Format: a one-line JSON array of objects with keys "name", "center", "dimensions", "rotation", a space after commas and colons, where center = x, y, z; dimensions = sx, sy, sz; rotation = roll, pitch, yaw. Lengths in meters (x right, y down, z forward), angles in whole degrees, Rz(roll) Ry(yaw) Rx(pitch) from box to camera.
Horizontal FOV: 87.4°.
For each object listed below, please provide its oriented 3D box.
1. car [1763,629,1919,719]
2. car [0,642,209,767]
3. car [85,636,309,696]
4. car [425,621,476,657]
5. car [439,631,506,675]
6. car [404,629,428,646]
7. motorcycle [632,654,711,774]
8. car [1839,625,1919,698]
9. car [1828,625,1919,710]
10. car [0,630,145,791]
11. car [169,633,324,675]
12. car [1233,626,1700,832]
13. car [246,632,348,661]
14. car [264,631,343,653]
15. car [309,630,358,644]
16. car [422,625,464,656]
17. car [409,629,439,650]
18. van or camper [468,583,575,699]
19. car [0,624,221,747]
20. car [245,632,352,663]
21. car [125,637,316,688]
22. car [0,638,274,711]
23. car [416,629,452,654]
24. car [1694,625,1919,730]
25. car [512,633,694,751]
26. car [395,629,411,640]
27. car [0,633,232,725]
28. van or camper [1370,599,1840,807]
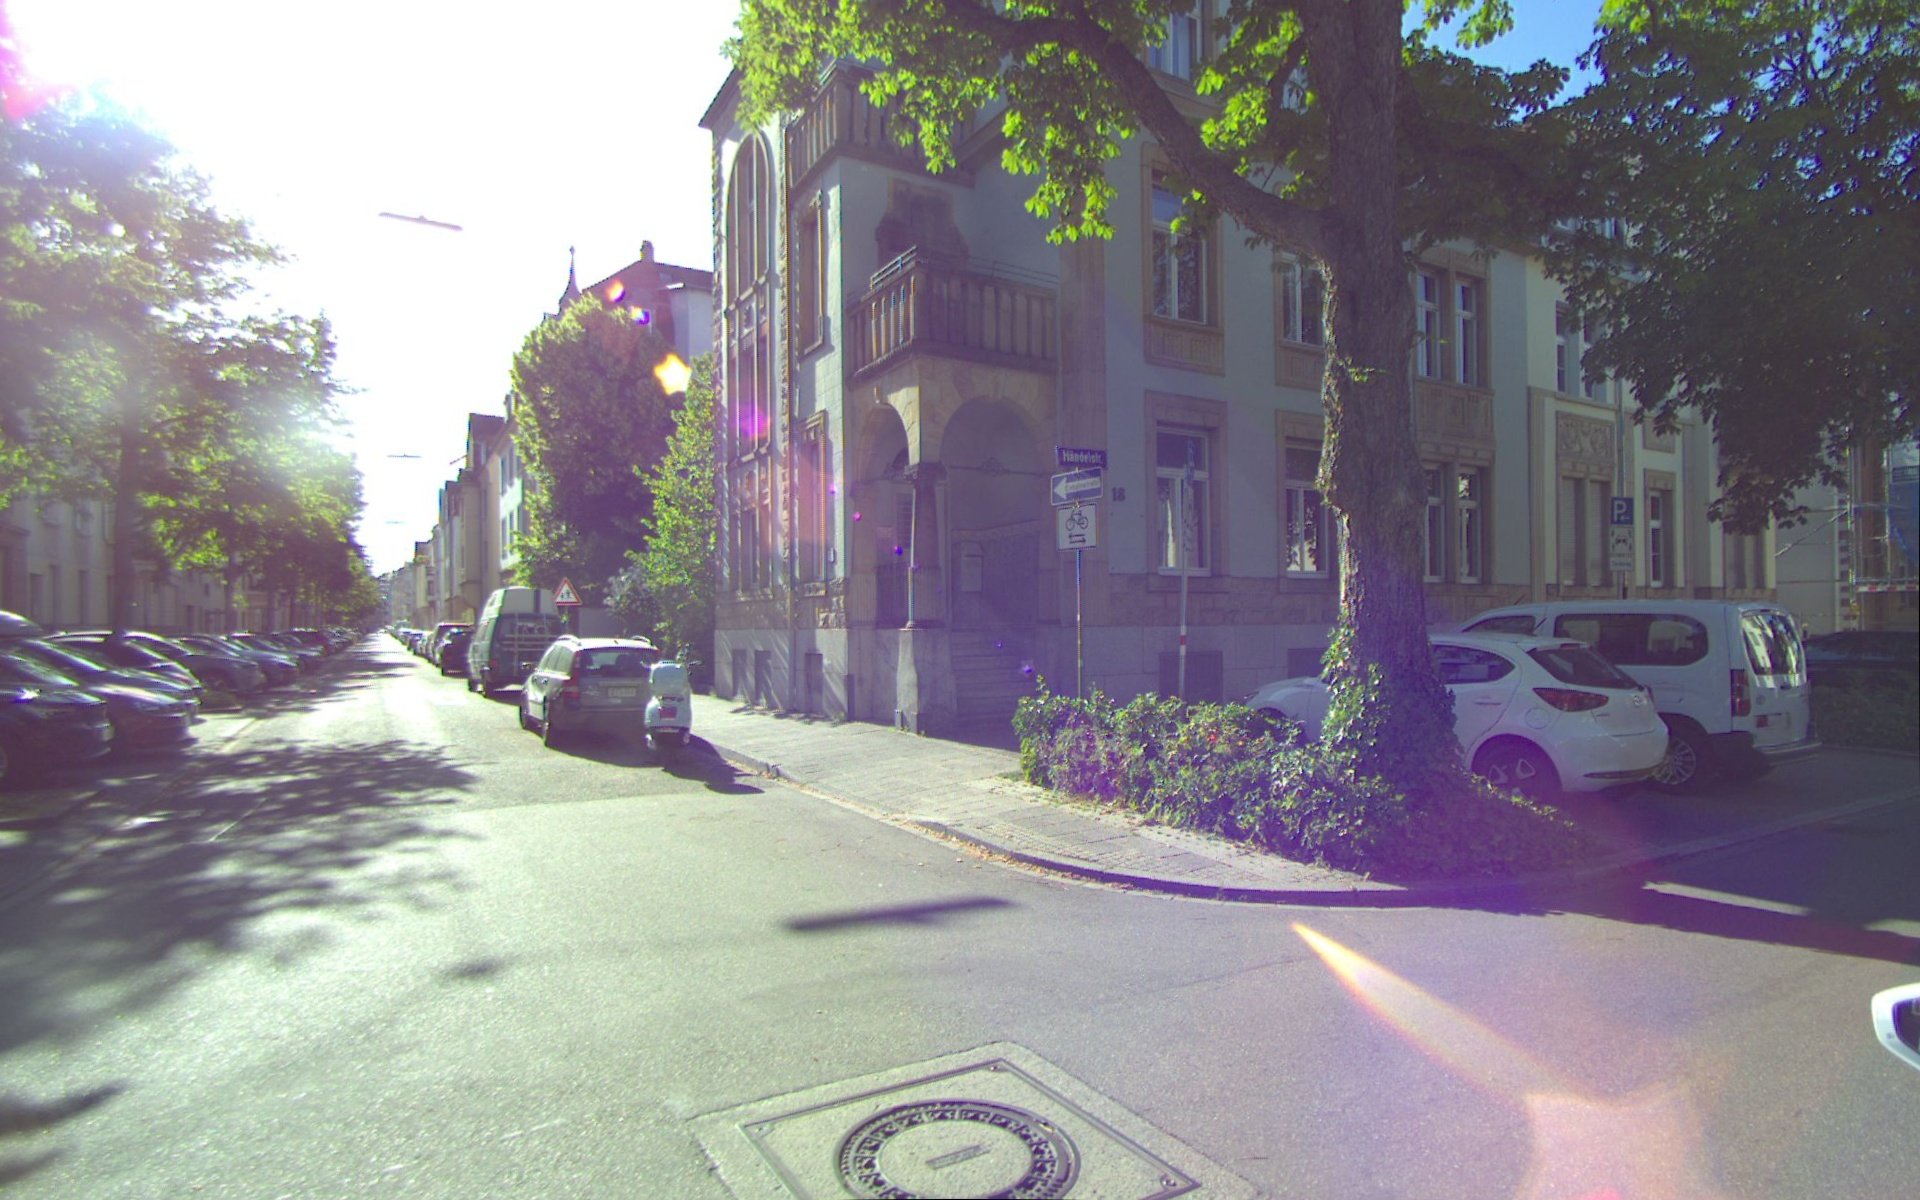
[{"name": "car", "center": [16.120, 1.218, 16.907], "dimensions": [1.627, 1.449, 3.730], "rotation": [0, -3, -30]}, {"name": "car", "center": [-12.065, 1.251, 12.392], "dimensions": [4.231, 1.460, 1.856], "rotation": [1, -2, -30]}, {"name": "car", "center": [-19.583, 1.659, 26.058], "dimensions": [4.366, 1.428, 1.856], "rotation": [1, -2, -30]}, {"name": "car", "center": [-23.584, 1.797, 46.452], "dimensions": [1.888, 1.547, 3.875], "rotation": [2, -3, -30]}, {"name": "car", "center": [-17.652, 1.874, 36.297], "dimensions": [1.888, 1.483, 3.875], "rotation": [2, -3, -30]}, {"name": "car", "center": [-51.277, 3.476, 94.596], "dimensions": [1.888, 1.548, 3.875], "rotation": [0, -1, -30]}, {"name": "motorcycle", "center": [-3.410, 1.308, 11.998], "dimensions": [0.577, 1.256, 1.846], "rotation": [0, -1, -6]}, {"name": "car", "center": [20.052, 1.209, 19.956], "dimensions": [1.675, 1.467, 3.534], "rotation": [0, -3, -29]}, {"name": "car", "center": [18.169, 1.188, 17.907], "dimensions": [1.694, 1.484, 3.710], "rotation": [-1, -2, -29]}, {"name": "car", "center": [-11.110, 1.083, 9.993], "dimensions": [4.366, 1.575, 1.856], "rotation": [1, -2, -30]}, {"name": "car", "center": [-25.628, 1.922, 36.278], "dimensions": [4.366, 1.428, 1.856], "rotation": [1, -2, -30]}, {"name": "car", "center": [4.625, 1.032, 9.688], "dimensions": [1.702, 1.536, 3.705], "rotation": [0, -1, -31]}, {"name": "car", "center": [-35.124, 2.430, 53.351], "dimensions": [4.365, 1.428, 1.856], "rotation": [0, -1, -30]}, {"name": "car", "center": [-44.157, 2.807, 67.687], "dimensions": [4.365, 1.428, 1.856], "rotation": [0, -1, -30]}, {"name": "car", "center": [-67.858, 4.015, 108.871], "dimensions": [4.365, 1.428, 1.856], "rotation": [0, -1, -30]}, {"name": "car", "center": [-27.838, 2.152, 54.032], "dimensions": [1.888, 1.548, 3.875], "rotation": [0, -1, -30]}, {"name": "car", "center": [-40.387, 2.946, 75.696], "dimensions": [1.888, 1.548, 3.875], "rotation": [0, -1, -30]}, {"name": "van or camper", "center": [-10.796, 0.990, 24.567], "dimensions": [1.888, 2.557, 4.235], "rotation": [2, -2, -30]}, {"name": "car", "center": [-13.487, 1.192, 14.453], "dimensions": [4.366, 1.676, 1.778], "rotation": [1, -2, -30]}, {"name": "car", "center": [-33.134, 2.344, 50.493], "dimensions": [4.365, 1.428, 1.856], "rotation": [0, -1, -30]}, {"name": "car", "center": [-21.984, 1.820, 30.115], "dimensions": [4.366, 1.428, 1.856], "rotation": [1, -2, -30]}, {"name": "car", "center": [-17.428, 1.537, 21.503], "dimensions": [4.366, 1.428, 1.856], "rotation": [1, -2, -30]}, {"name": "car", "center": [-33.513, 2.611, 63.911], "dimensions": [1.888, 1.548, 3.875], "rotation": [0, -1, -30]}, {"name": "car", "center": [13.886, 1.129, 15.263], "dimensions": [1.690, 1.419, 4.119], "rotation": [0, -1, -30]}, {"name": "car", "center": [-5.433, 1.269, 15.001], "dimensions": [1.872, 1.483, 3.875], "rotation": [2, -3, -30]}, {"name": "car", "center": [-77.584, 4.774, 139.965], "dimensions": [1.888, 1.548, 3.875], "rotation": [0, -1, -30]}, {"name": "car", "center": [-15.729, 1.351, 17.783], "dimensions": [4.366, 1.504, 1.856], "rotation": [1, -2, -30]}, {"name": "van or camper", "center": [6.735, 0.930, 10.929], "dimensions": [1.788, 1.797, 3.924], "rotation": [-1, 0, -31]}]
